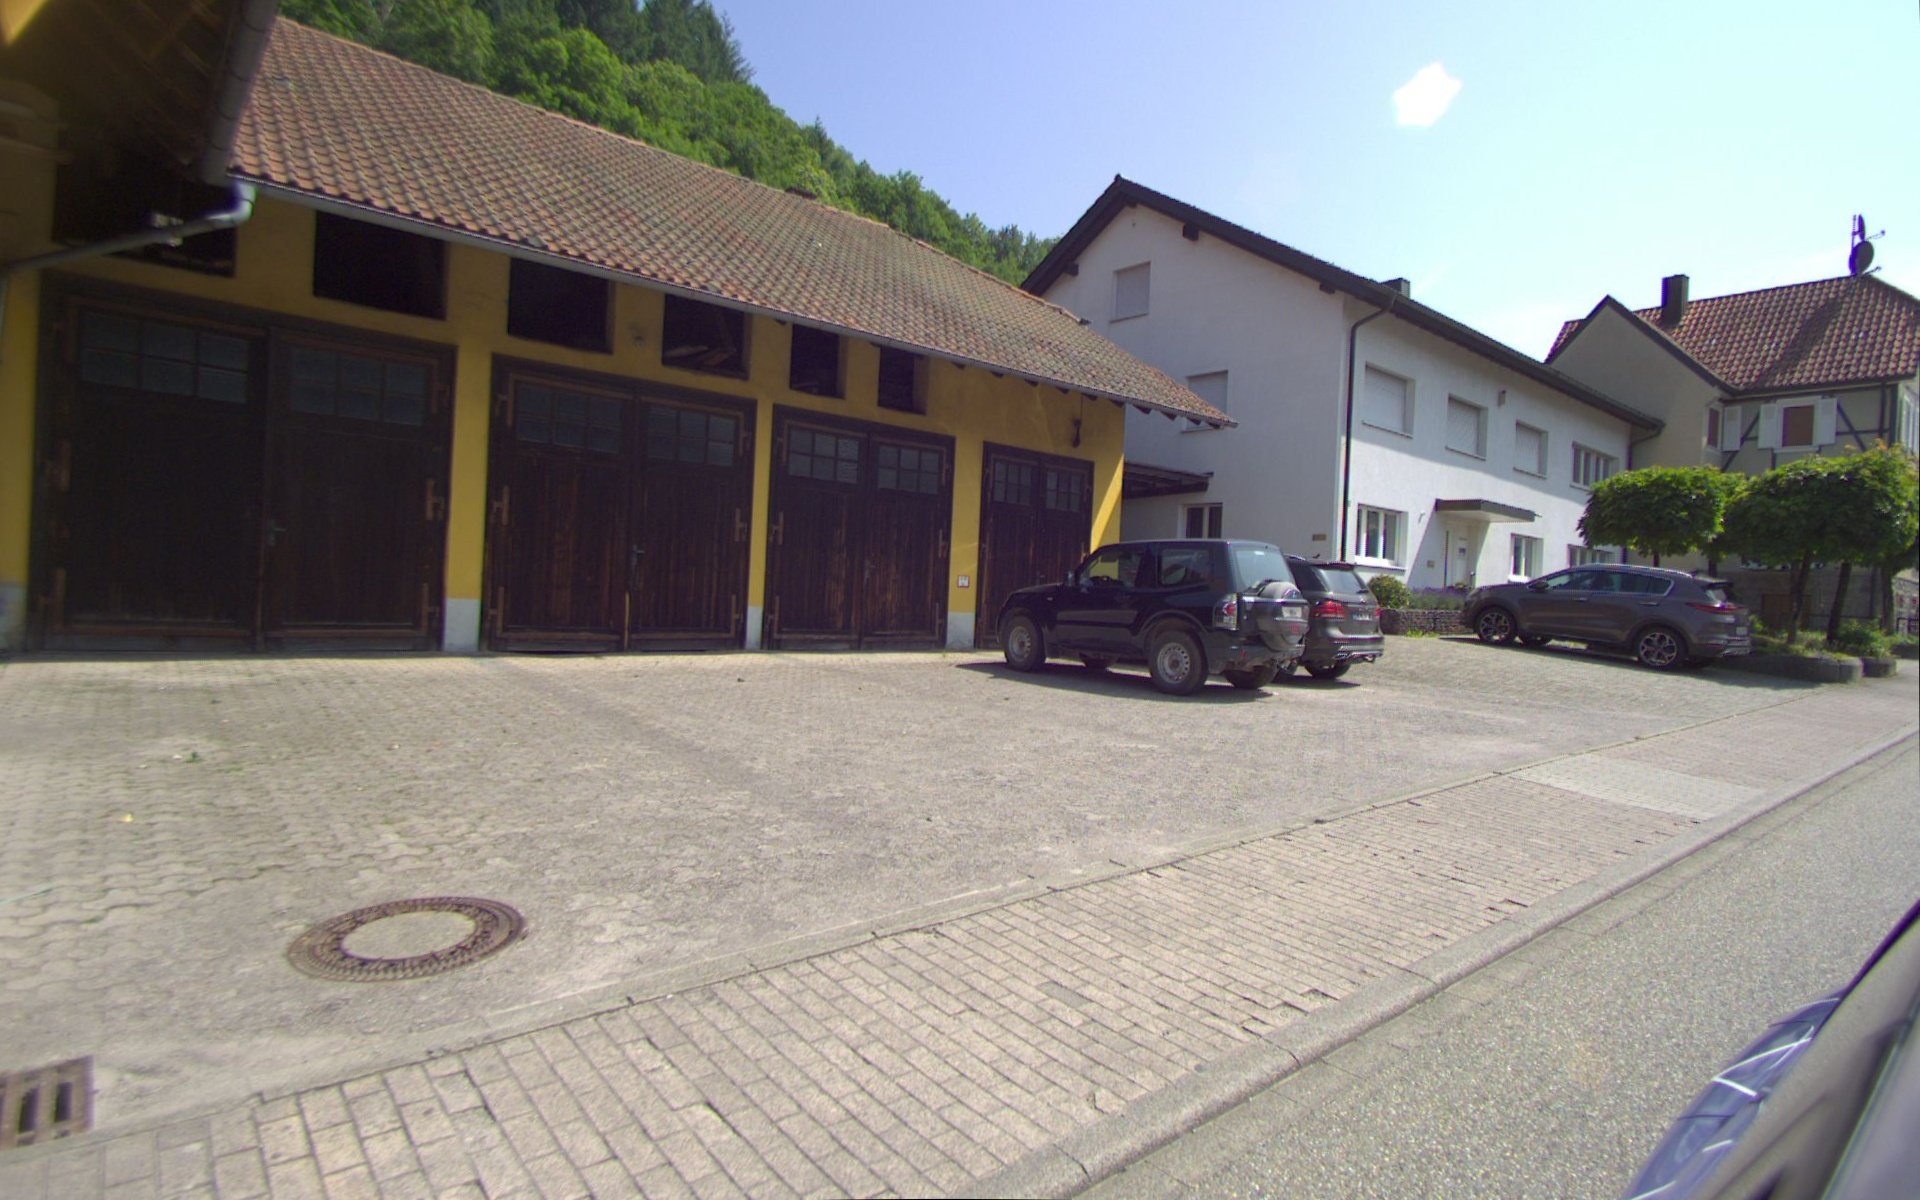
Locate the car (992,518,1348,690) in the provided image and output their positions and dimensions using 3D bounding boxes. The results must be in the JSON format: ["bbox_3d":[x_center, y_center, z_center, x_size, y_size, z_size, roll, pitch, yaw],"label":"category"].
[{"bbox_3d":[2.565,-0.079,13.123,1.921,1.855,4.133,0,3,-43],"label":"car"}]

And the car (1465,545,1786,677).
[{"bbox_3d":[11.486,0.084,17.763,1.743,1.706,4.240,1,7,-36],"label":"car"}]

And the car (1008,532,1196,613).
[{"bbox_3d":[3.173,-0.671,23.223,1.839,1.664,3.995,0,3,-42],"label":"car"}]

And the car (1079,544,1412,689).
[{"bbox_3d":[4.146,0.119,15.268,1.920,1.780,4.426,0,3,-43],"label":"car"}]
